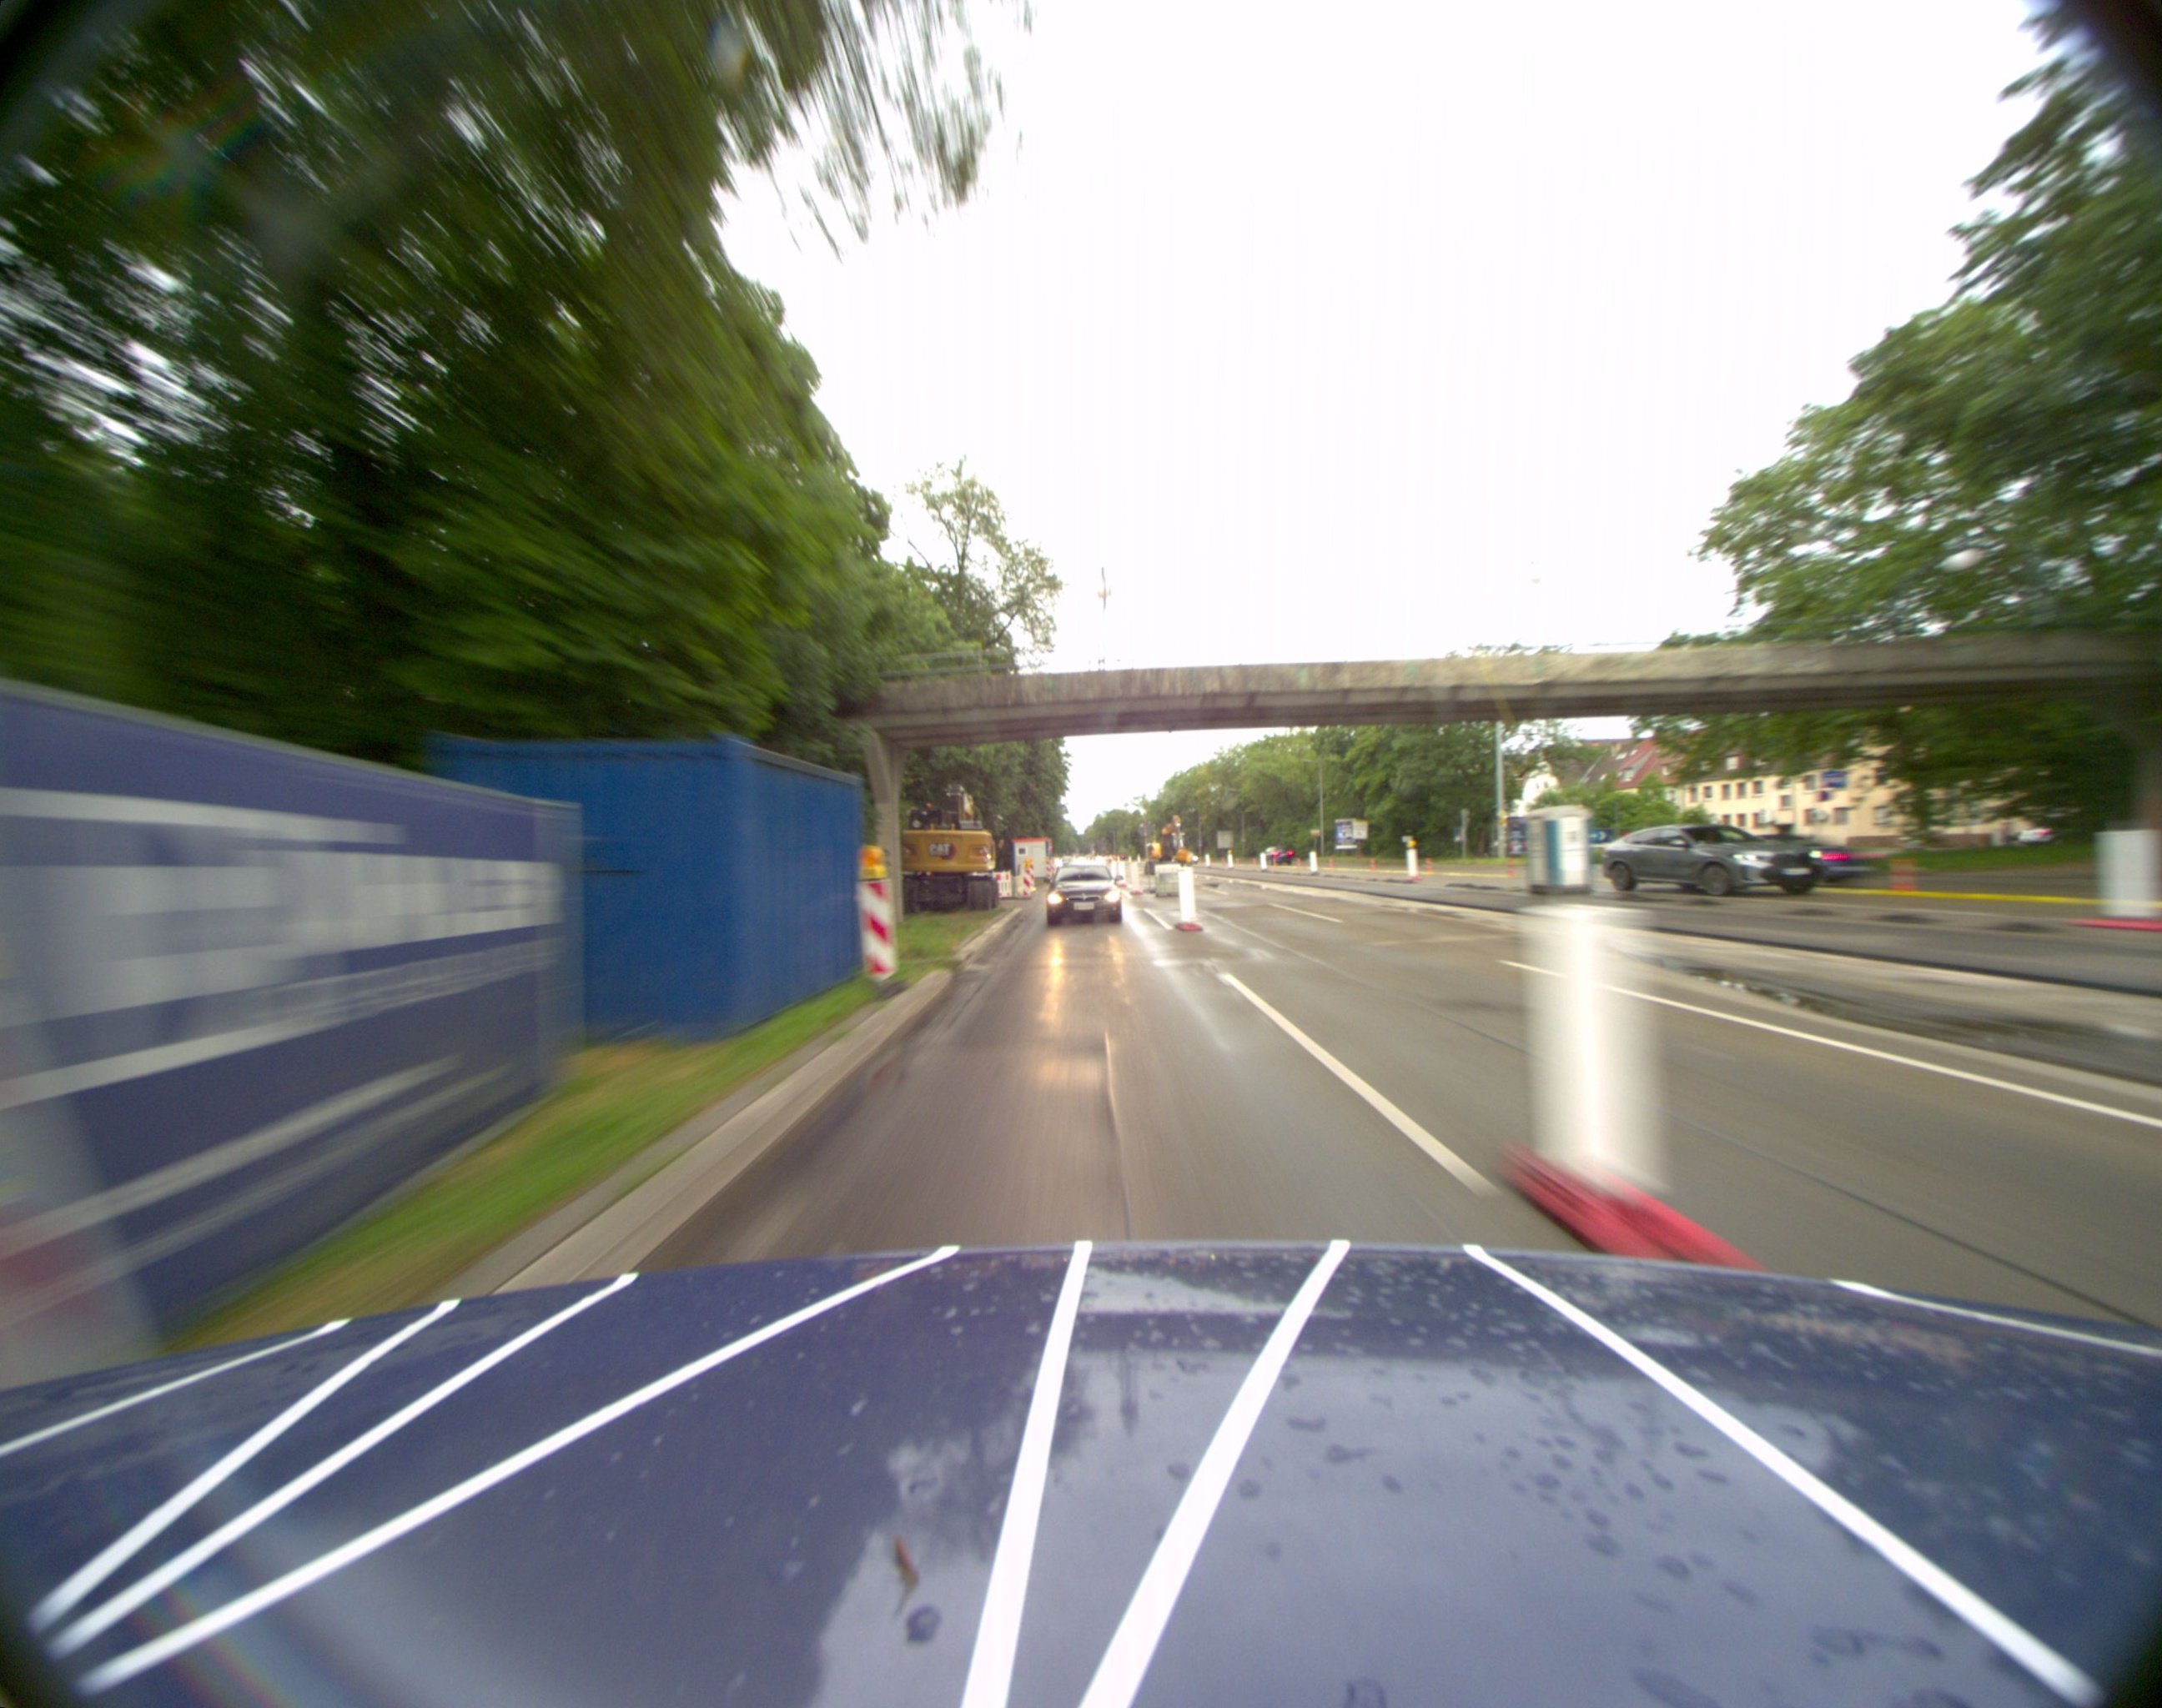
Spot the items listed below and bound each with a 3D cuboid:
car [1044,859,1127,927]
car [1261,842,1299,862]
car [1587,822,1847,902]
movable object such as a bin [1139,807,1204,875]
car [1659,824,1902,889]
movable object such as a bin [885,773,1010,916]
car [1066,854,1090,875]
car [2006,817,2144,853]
[{"bbox_3d":[0.075,0.913,19.324,1.838,1.397,3.999,-3,1,-1],"label":"car"},{"bbox_3d":[18.684,-0.237,71.609,2.221,1.729,5.055,-3,1,0],"label":"car"},{"bbox_3d":[15.116,0.140,18.563,2.082,1.604,5.055,-3,1,0],"label":"car"},{"bbox_3d":[6.542,-0.943,56.559,3.526,4.495,10.068,-3,1,0],"label":"movable object such as a bin"},{"bbox_3d":[18.431,0.030,20.448,1.999,1.451,4.883,-3,1,-1],"label":"car"},{"bbox_3d":[-4.068,-0.304,24.620,2.890,3.917,6.104,-3,1,-1],"label":"movable object such as a bin"},{"bbox_3d":[-0.247,0.919,67.444,1.998,1.650,4.229,-3,1,0],"label":"car"},{"bbox_3d":[55.176,-1.056,42.293,4.213,1.740,2.003,-2,1,32],"label":"car"}]
